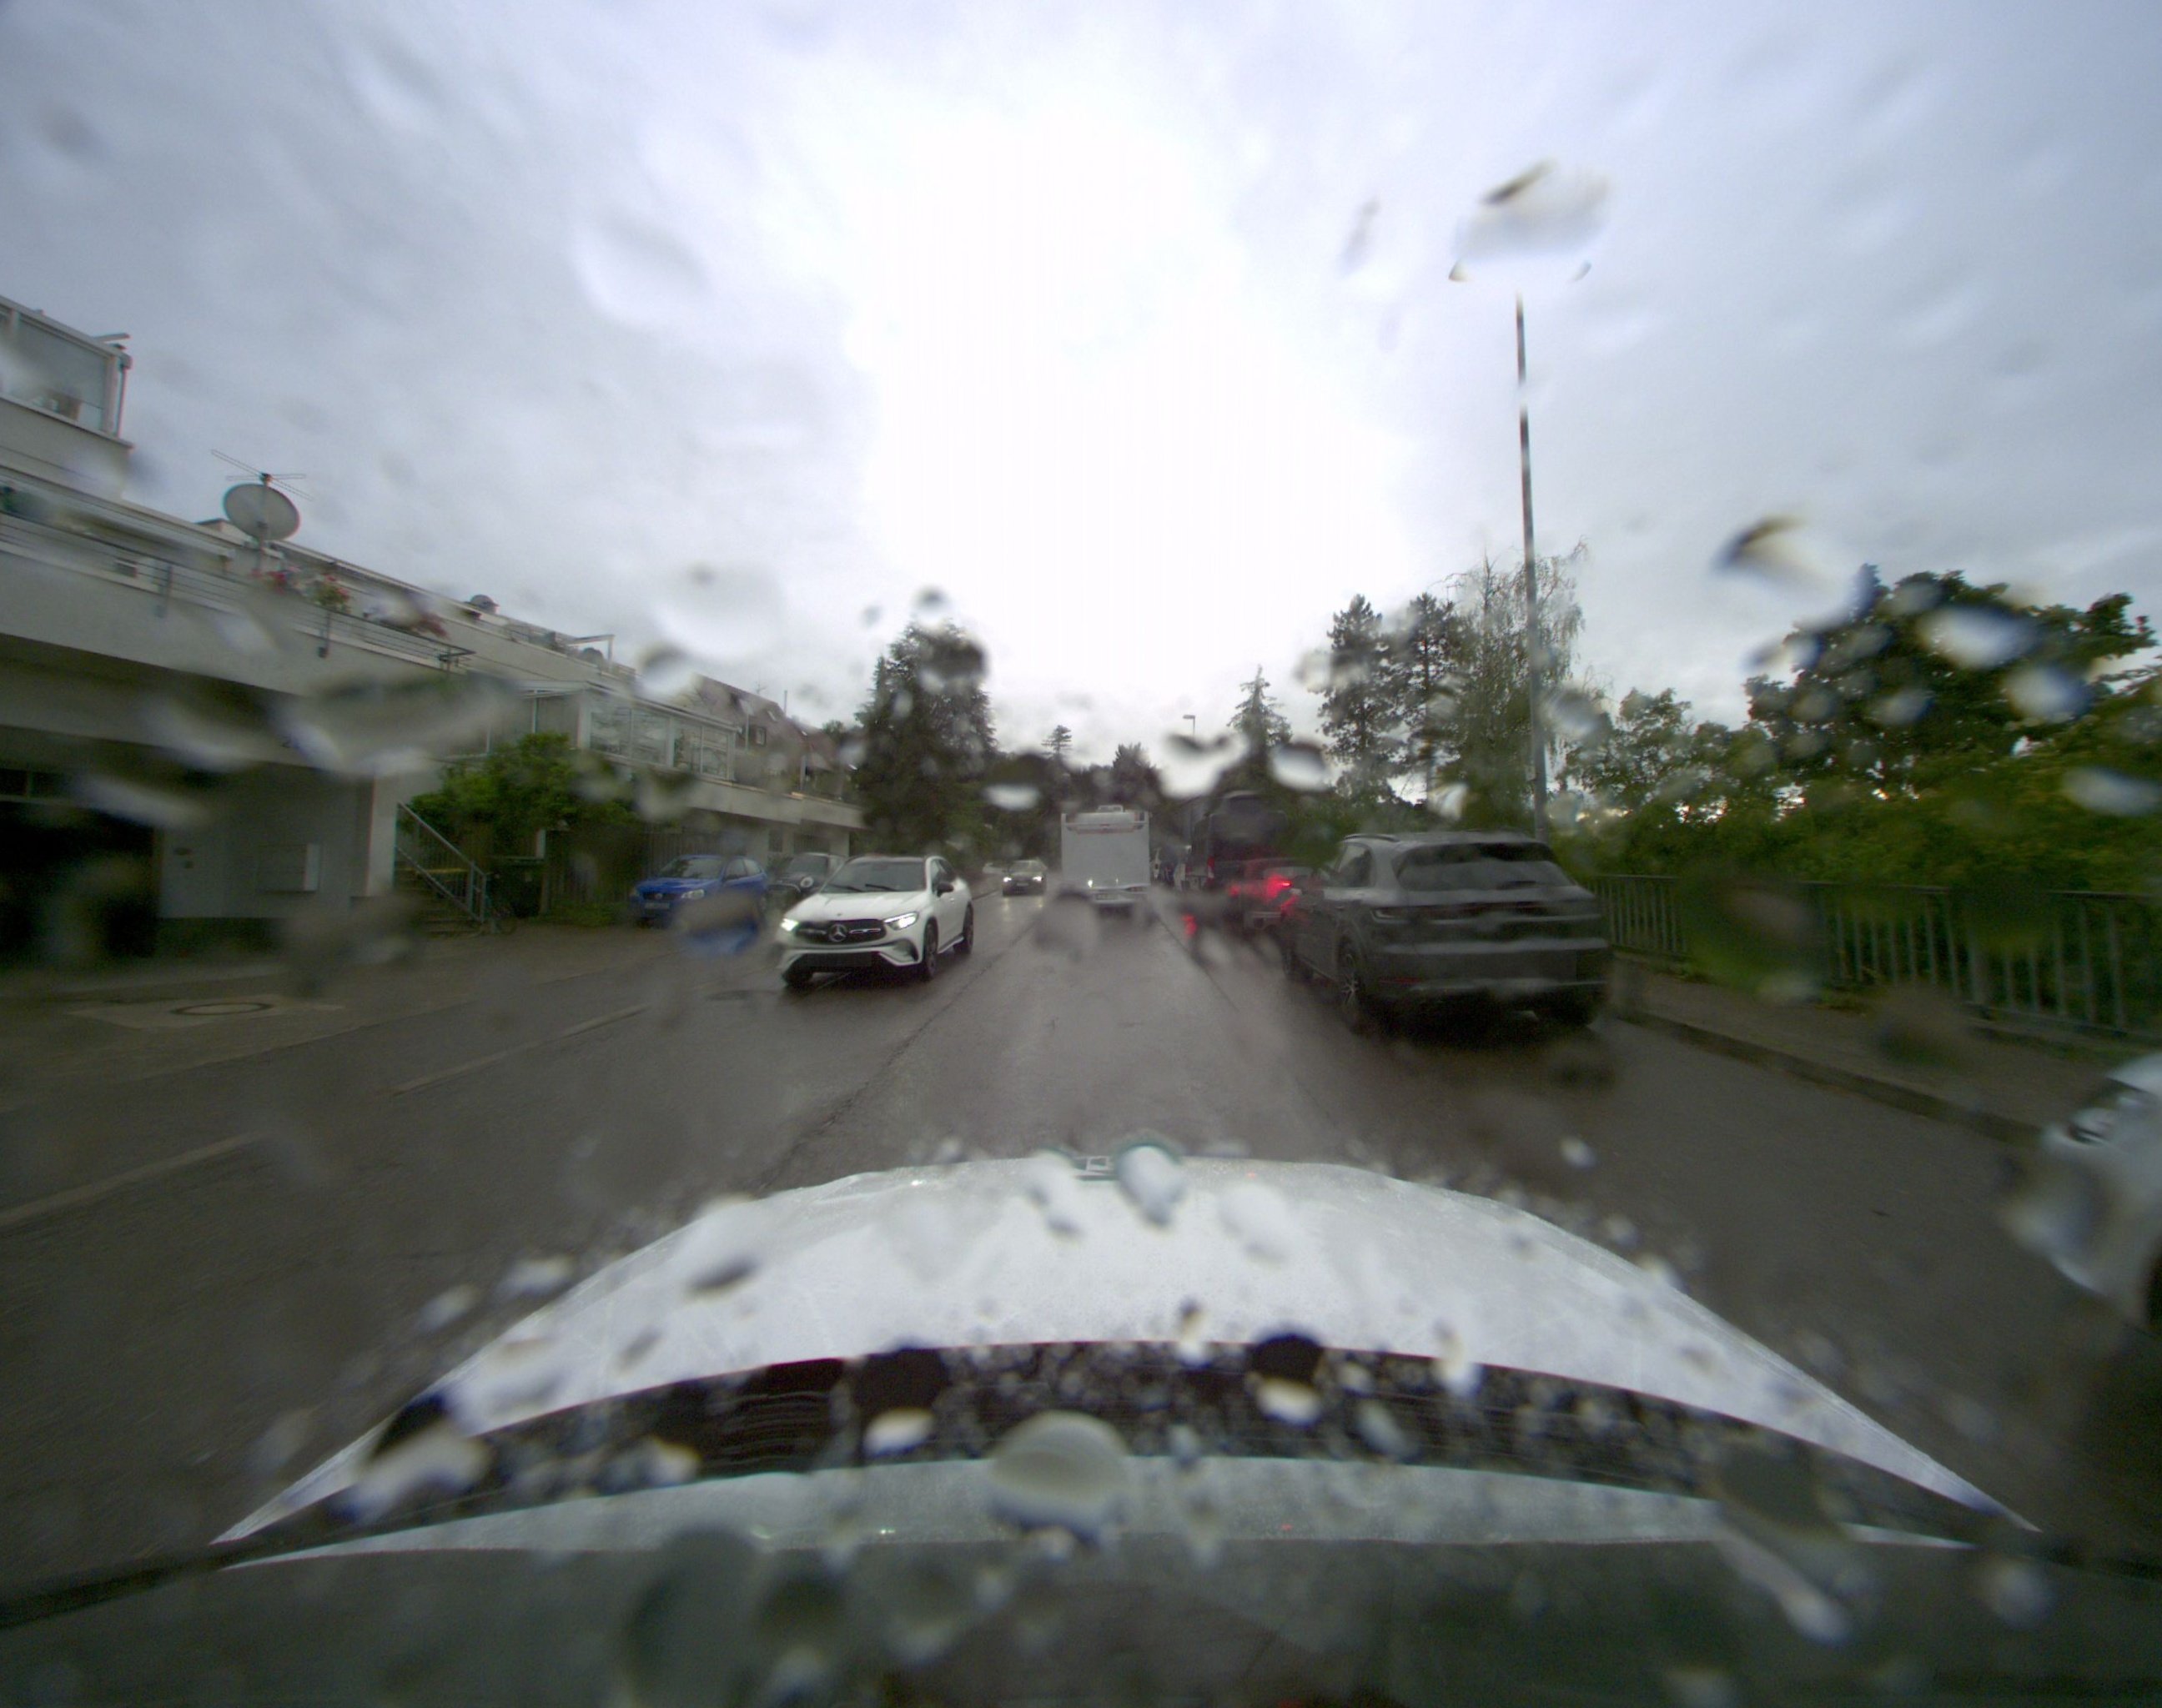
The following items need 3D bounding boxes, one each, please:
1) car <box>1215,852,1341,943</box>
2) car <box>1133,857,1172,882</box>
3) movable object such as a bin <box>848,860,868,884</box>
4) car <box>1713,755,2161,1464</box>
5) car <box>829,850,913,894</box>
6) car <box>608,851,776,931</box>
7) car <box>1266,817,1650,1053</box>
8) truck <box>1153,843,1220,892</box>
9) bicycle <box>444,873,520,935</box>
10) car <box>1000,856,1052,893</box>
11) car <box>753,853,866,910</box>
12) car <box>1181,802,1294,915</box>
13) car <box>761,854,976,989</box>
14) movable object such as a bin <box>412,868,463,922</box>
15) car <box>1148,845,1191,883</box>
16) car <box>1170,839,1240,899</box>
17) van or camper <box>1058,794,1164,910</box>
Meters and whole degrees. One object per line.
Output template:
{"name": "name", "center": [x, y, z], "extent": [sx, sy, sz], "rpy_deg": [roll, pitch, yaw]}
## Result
{"name": "car", "center": [3.463, 0.703, 14.945], "extent": [1.582, 1.429, 3.801], "rpy_deg": [-2, 0, 3]}
{"name": "car", "center": [4.289, 0.904, 49.332], "extent": [1.683, 1.457, 4.049], "rpy_deg": [0, 0, -5]}
{"name": "movable object such as a bin", "center": [-9.983, 0.798, 36.459], "extent": [0.573, 1.056, 0.685], "rpy_deg": [0, 0, 13]}
{"name": "car", "center": [3.423, 0.571, 0.466], "extent": [1.839, 1.683, 5.640], "rpy_deg": [-2, -1, 2]}
{"name": "car", "center": [-7.916, 0.653, 31.181], "extent": [1.767, 1.437, 4.590], "rpy_deg": [4, 0, 2]}
{"name": "car", "center": [-8.202, 0.705, 17.599], "extent": [1.601, 1.434, 3.959], "rpy_deg": [3, 0, 1]}
{"name": "car", "center": [3.255, 0.600, 8.260], "extent": [1.928, 1.672, 4.698], "rpy_deg": [-2, 0, 3]}
{"name": "truck", "center": [4.403, 0.536, 35.003], "extent": [2.106, 1.852, 6.619], "rpy_deg": [1, 0, 1]}
{"name": "bicycle", "center": [-10.699, 0.874, 14.535], "extent": [1.549, 1.007, 0.481], "rpy_deg": [1, -1, 30]}
{"name": "car", "center": [-2.394, 0.885, 36.396], "extent": [1.767, 1.437, 4.364], "rpy_deg": [-4, 0, 2]}
{"name": "car", "center": [-7.646, 0.713, 23.363], "extent": [1.627, 1.396, 4.241], "rpy_deg": [3, 0, 2]}
{"name": "car", "center": [3.908, 0.120, 21.420], "extent": [2.023, 2.505, 5.959], "rpy_deg": [-2, 0, 2]}
{"name": "car", "center": [-2.756, 0.779, 11.652], "extent": [1.792, 1.567, 4.386], "rpy_deg": [0, 0, 2]}
{"name": "movable object such as a bin", "center": [-12.853, 0.810, 16.276], "extent": [0.542, 1.041, 0.564], "rpy_deg": [1, -1, 15]}
{"name": "car", "center": [4.684, 0.492, 43.697], "extent": [1.853, 1.921, 5.080], "rpy_deg": [0, 0, 1]}
{"name": "car", "center": [4.235, 0.477, 28.508], "extent": [1.820, 1.842, 5.273], "rpy_deg": [-2, 0, 2]}
{"name": "van or camper", "center": [0.872, 0.033, 23.133], "extent": [2.605, 2.853, 6.033], "rpy_deg": [0, -2, 2]}
